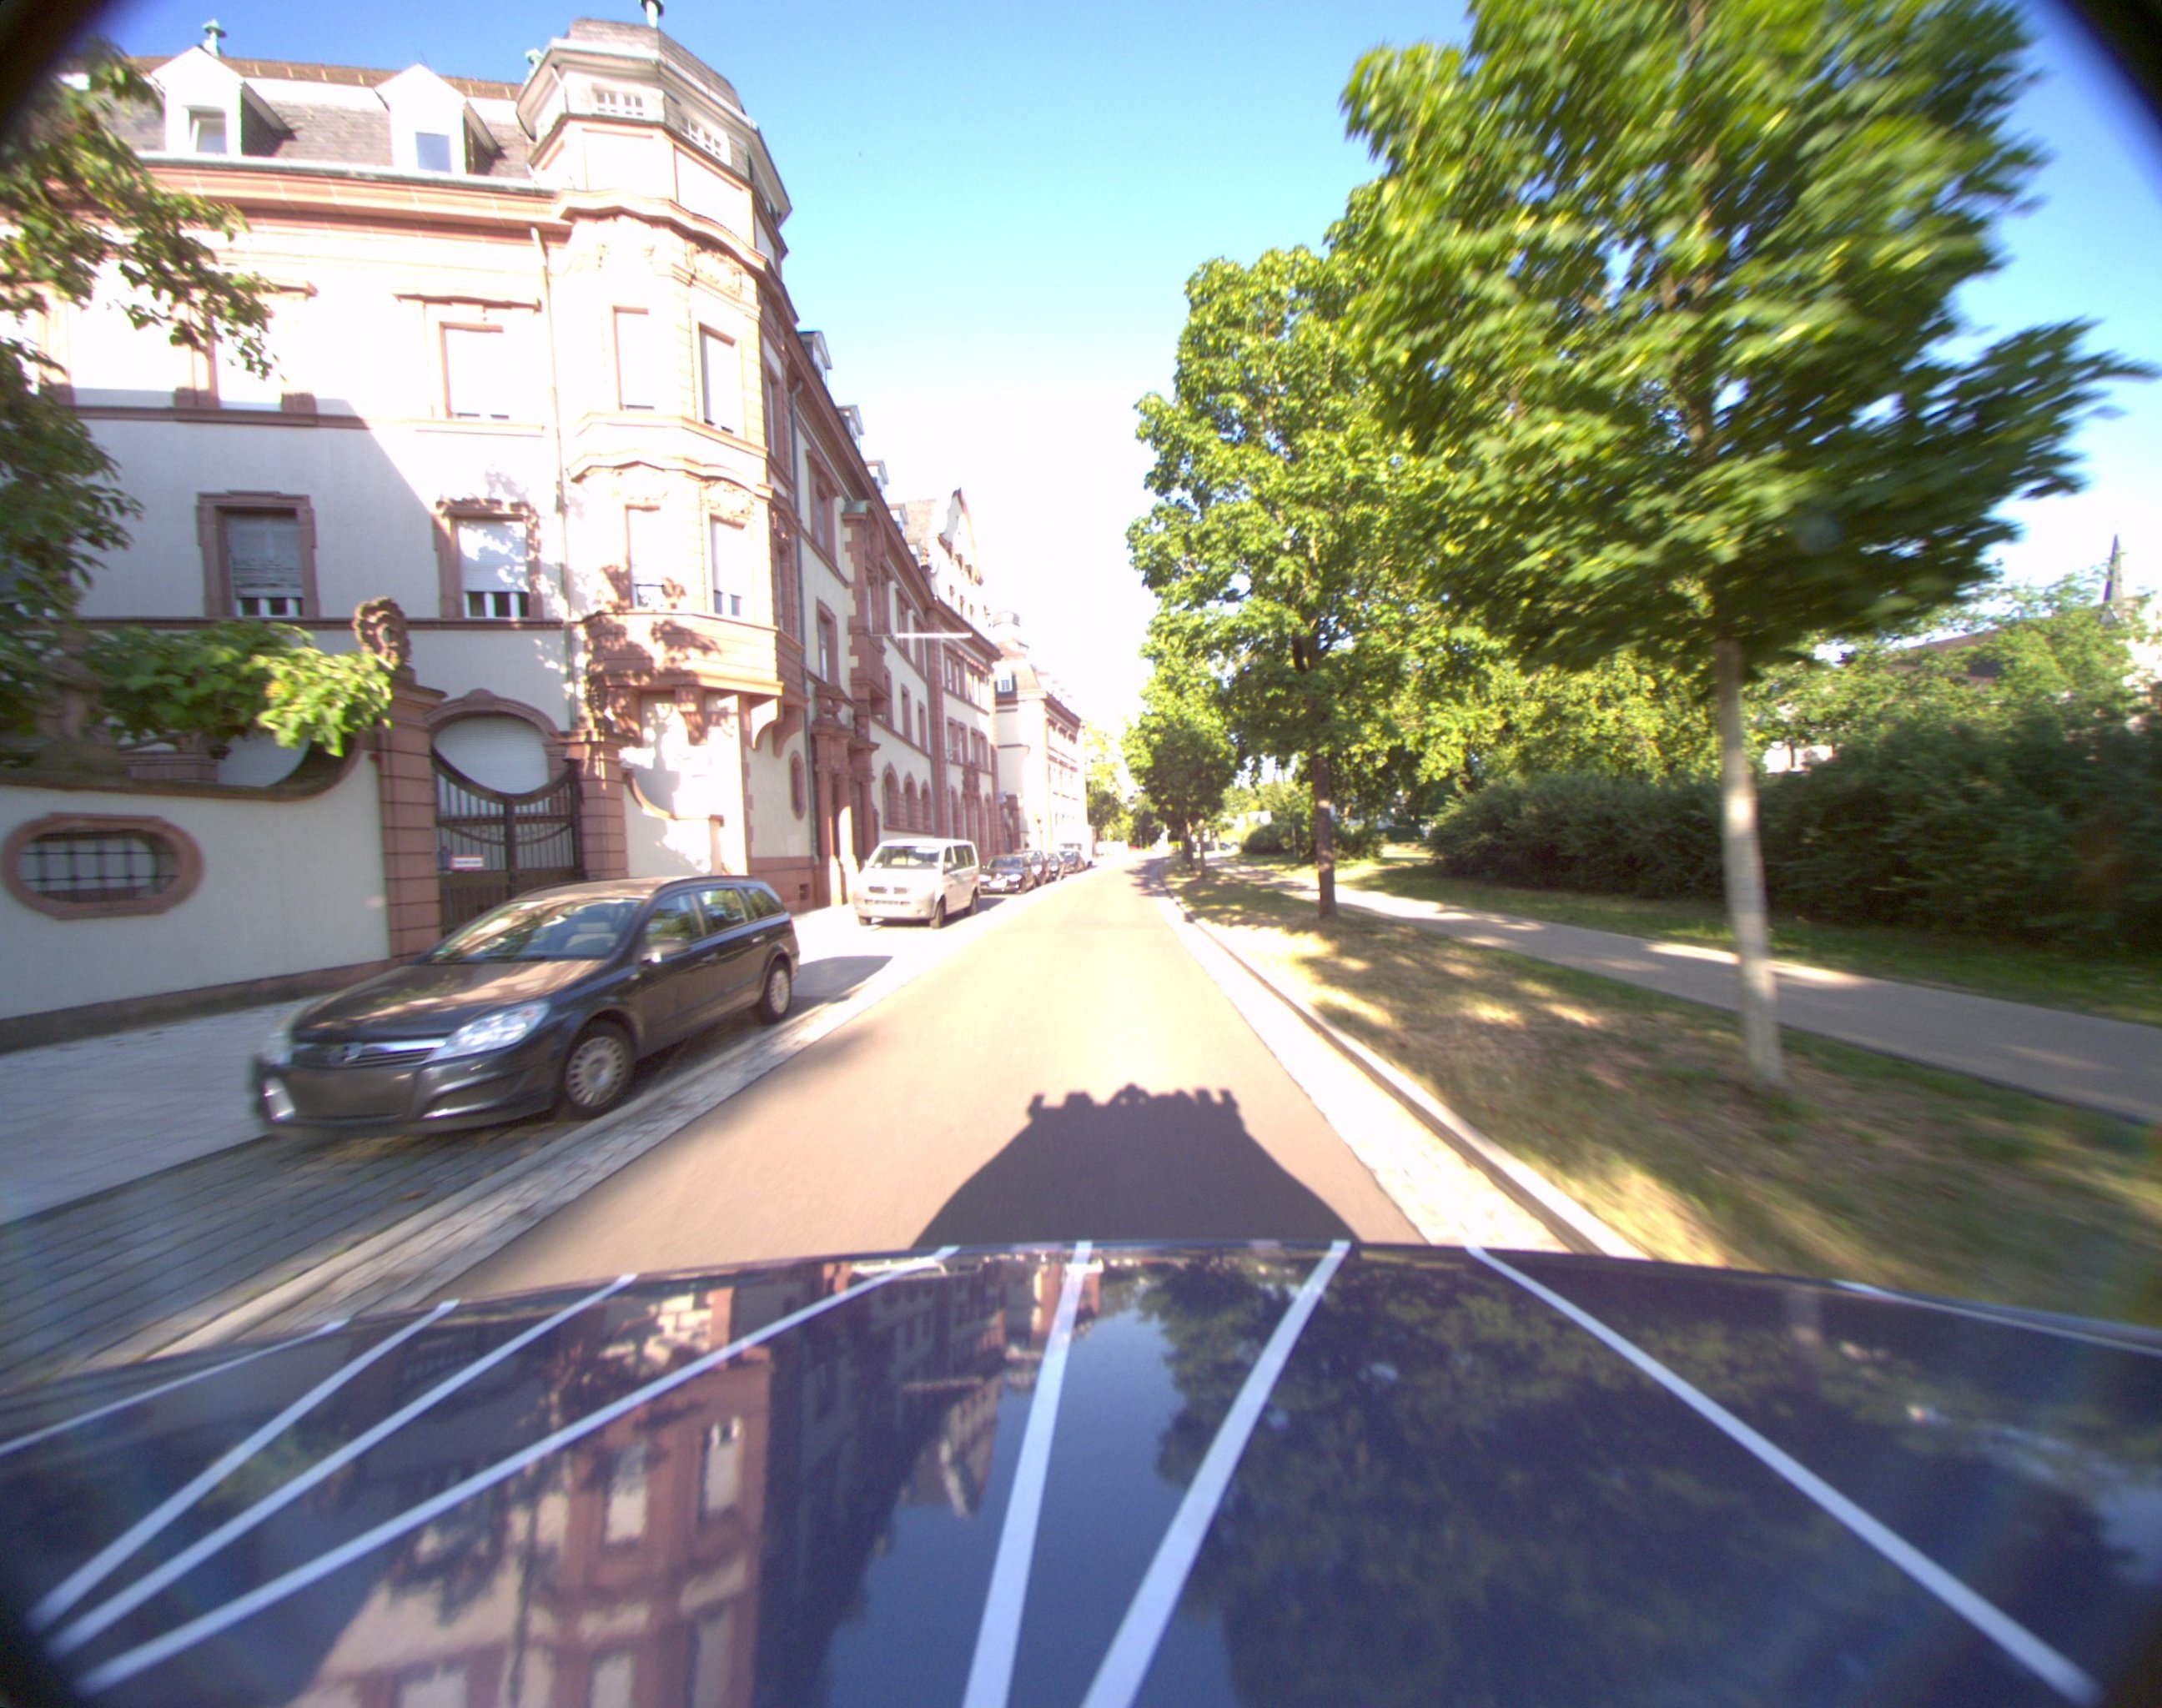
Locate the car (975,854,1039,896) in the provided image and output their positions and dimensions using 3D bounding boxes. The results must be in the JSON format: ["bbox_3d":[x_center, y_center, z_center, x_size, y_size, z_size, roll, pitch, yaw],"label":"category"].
[{"bbox_3d":[-2.699,0.727,28.741,1.682,1.395,4.200,0,1,5],"label":"car"}]

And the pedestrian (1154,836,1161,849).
[{"bbox_3d":[10.472,-1.565,104.500,0.716,1.829,0.790,-4,0,-6],"label":"pedestrian"}]

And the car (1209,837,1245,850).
[{"bbox_3d":[21.449,-1.505,111.582,4.837,1.550,1.866,-4,1,-8],"label":"car"}]

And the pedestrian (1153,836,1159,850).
[{"bbox_3d":[10.367,-1.558,105.420,0.613,1.829,0.726,-4,0,-6],"label":"pedestrian"}]

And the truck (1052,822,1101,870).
[{"bbox_3d":[-0.235,-0.525,54.409,2.629,3.102,6.090,-3,0,6],"label":"truck"}]

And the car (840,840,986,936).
[{"bbox_3d":[-3.810,0.663,18.273,1.997,1.955,4.850,1,1,6],"label":"car"}]

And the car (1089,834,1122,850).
[{"bbox_3d":[4.765,-2.353,149.188,5.910,2.685,2.218,-4,2,-10],"label":"car"}]

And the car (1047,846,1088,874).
[{"bbox_3d":[-0.812,0.342,48.199,1.772,1.522,4.574,-3,1,9],"label":"car"}]

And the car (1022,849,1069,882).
[{"bbox_3d":[-1.799,0.547,39.444,1.875,1.428,4.522,-2,2,4],"label":"car"}]

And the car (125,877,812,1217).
[{"bbox_3d":[-3.887,1.052,6.083,1.752,1.458,4.476,-1,2,1],"label":"car"}]

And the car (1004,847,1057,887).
[{"bbox_3d":[-2.208,0.531,34.309,1.820,1.593,4.192,-2,2,3],"label":"car"}]
